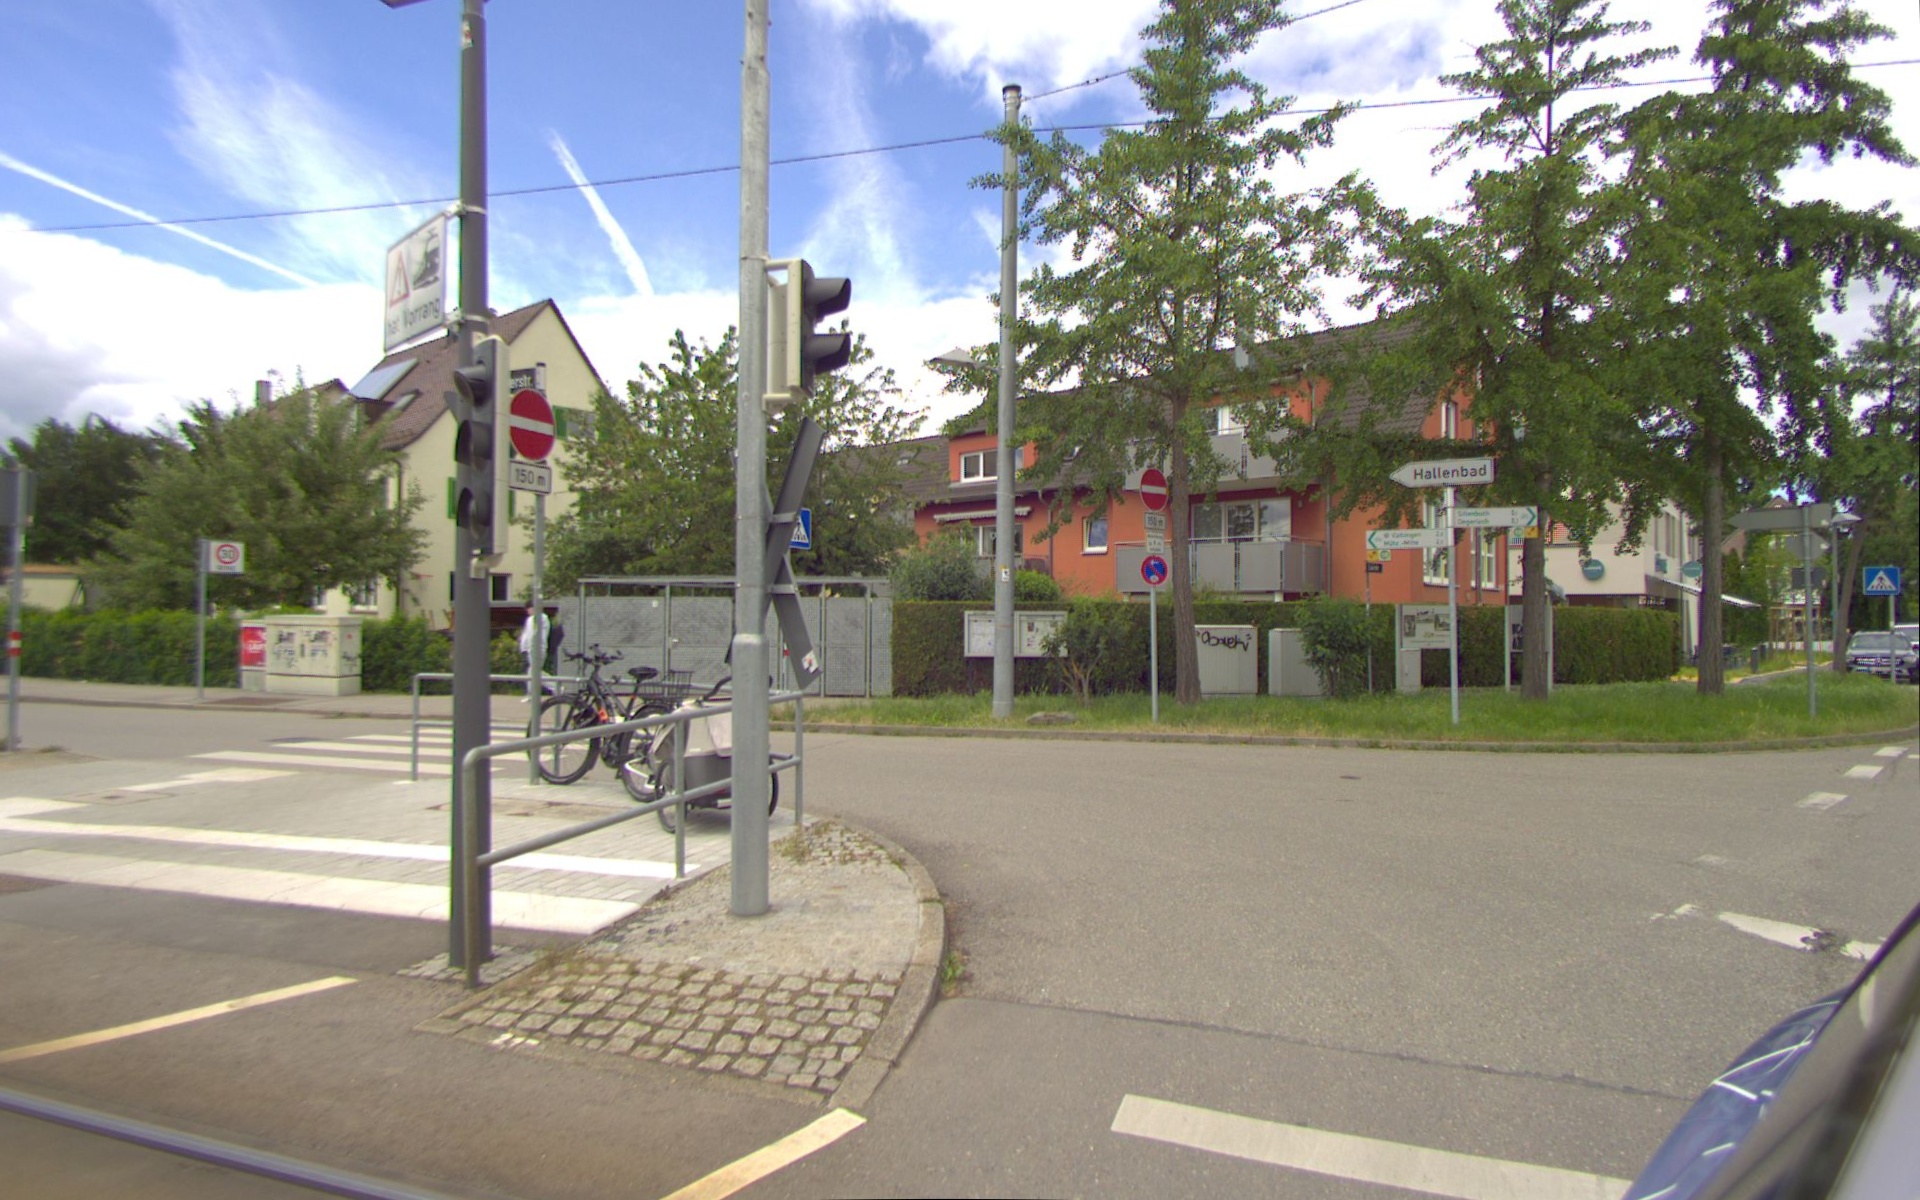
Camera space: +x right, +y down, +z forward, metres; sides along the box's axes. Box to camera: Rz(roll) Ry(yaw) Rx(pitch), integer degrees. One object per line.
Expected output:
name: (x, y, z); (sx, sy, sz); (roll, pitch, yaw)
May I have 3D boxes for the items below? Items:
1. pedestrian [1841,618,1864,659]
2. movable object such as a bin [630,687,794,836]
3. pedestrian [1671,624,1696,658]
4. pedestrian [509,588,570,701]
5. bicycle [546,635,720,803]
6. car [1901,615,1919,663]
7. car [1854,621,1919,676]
pedestrian: (37.604, 1.630, 42.646); (0.649, 1.690, 0.677); (2, -1, -44)
movable object such as a bin: (-1.691, 1.053, 6.858); (1.090, 0.835, 0.571); (-1, -1, 42)
pedestrian: (27.626, 1.569, 38.643); (0.750, 1.254, 0.681); (0, -2, 41)
pedestrian: (-7.340, 0.769, 17.707); (0.814, 1.939, 0.626); (1, 0, -8)
bicycle: (-2.636, 0.886, 8.063); (1.683, 1.170, 0.460); (0, -1, 39)
car: (42.384, 1.661, 43.902); (5.475, 2.040, 1.994); (1, -3, -45)
car: (29.782, 1.494, 32.184); (1.846, 1.657, 4.395); (-2, -2, 44)
